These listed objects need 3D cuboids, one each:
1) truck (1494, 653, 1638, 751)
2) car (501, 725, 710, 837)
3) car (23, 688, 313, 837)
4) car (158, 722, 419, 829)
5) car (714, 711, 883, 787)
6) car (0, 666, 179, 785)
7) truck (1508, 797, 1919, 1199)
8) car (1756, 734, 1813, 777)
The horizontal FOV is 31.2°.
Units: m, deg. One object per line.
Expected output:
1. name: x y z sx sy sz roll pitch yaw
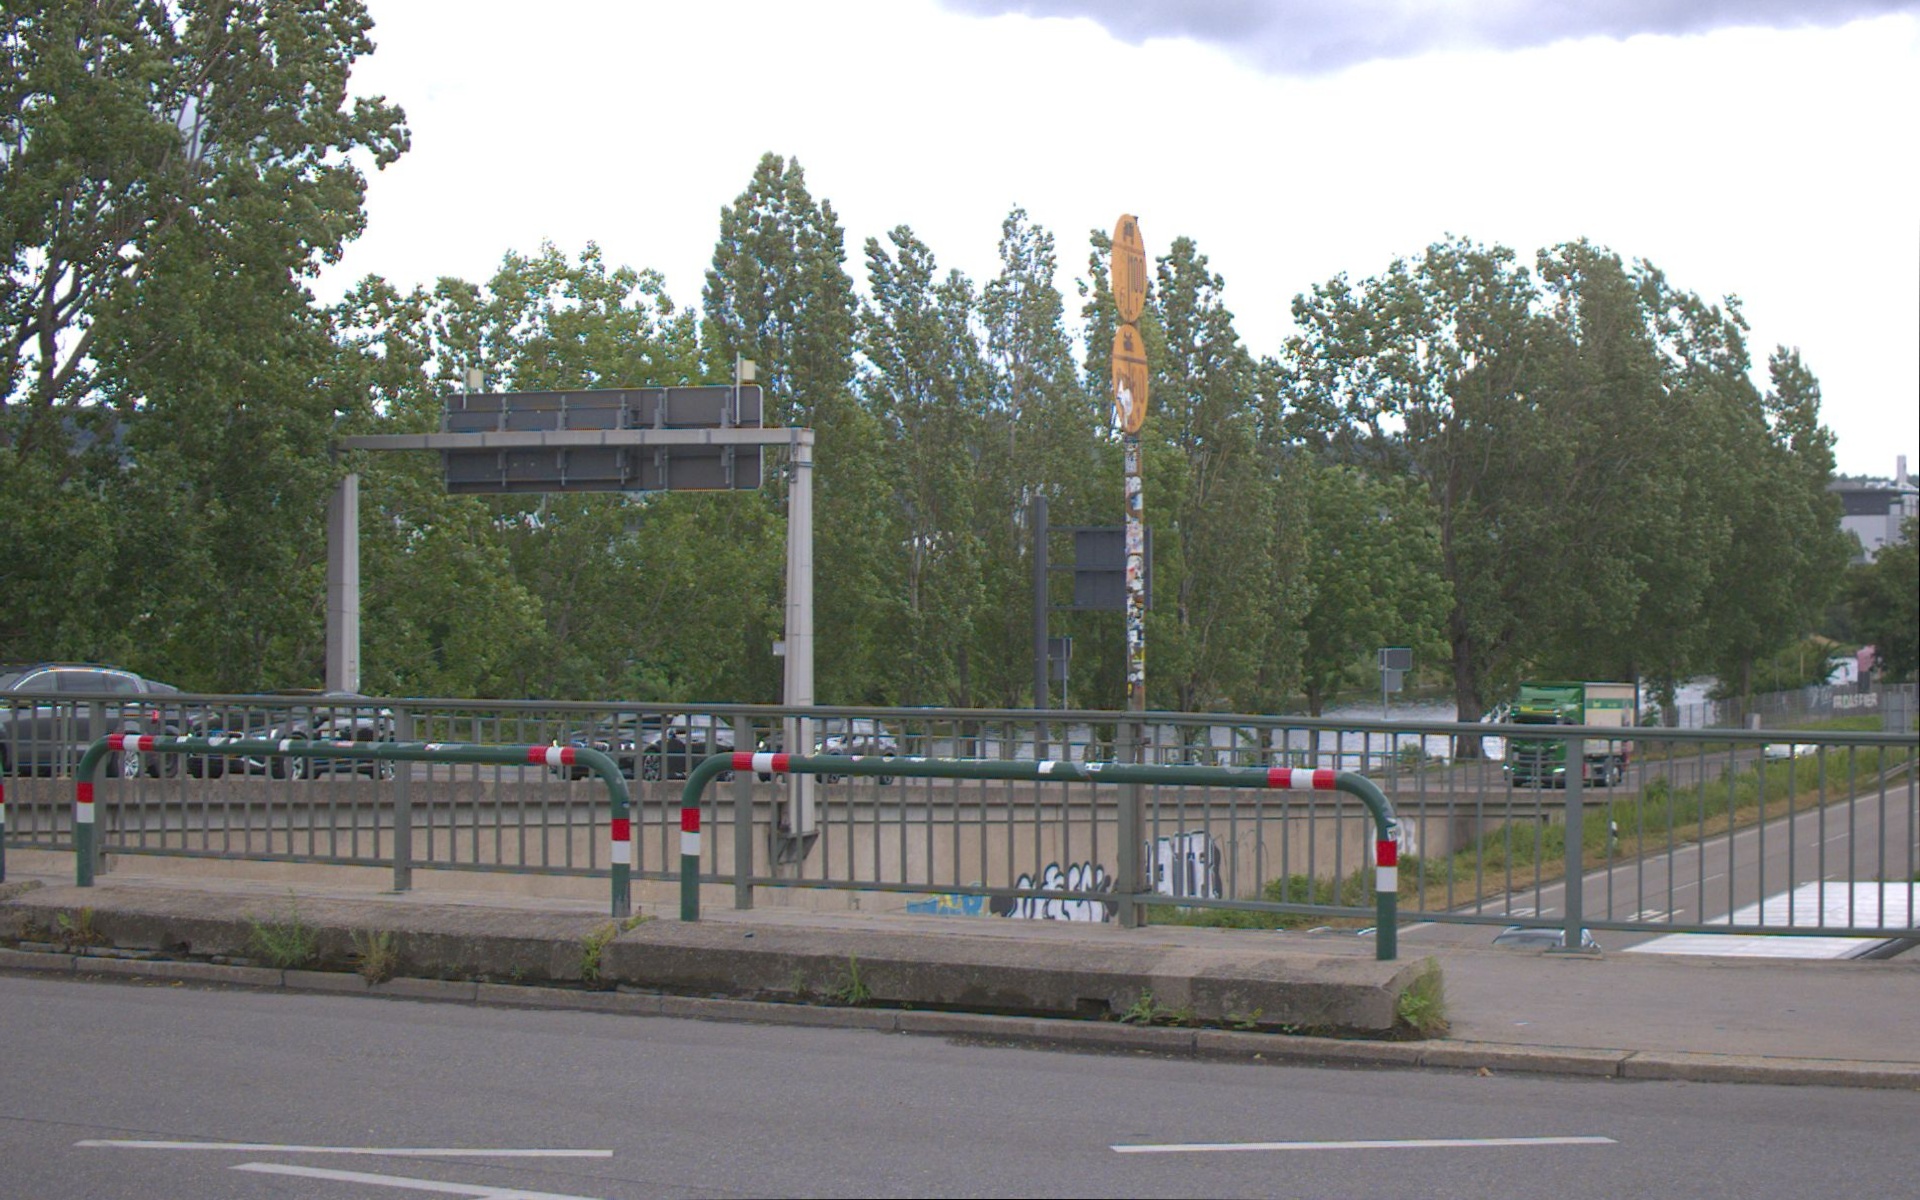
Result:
1. truck: 23.361 3.847 132.116 2.777 3.498 9.244 1 0 28
2. car: -6.497 3.306 63.436 1.996 1.612 3.995 1 3 26
3. car: -12.902 2.614 56.294 2.209 2.006 4.538 1 2 27
4. car: -10.566 2.755 54.374 1.996 1.613 3.993 -1 -3 27
5. car: -3.510 3.278 75.539 1.996 1.613 3.993 -1 -3 27
6. car: -13.407 1.771 48.334 1.996 1.614 4.954 -1 -3 27
7. truck: 10.315 5.242 41.132 3.582 4.470 13.162 1 2 27
8. car: 39.143 7.373 163.192 1.996 1.663 3.767 0 2 23
